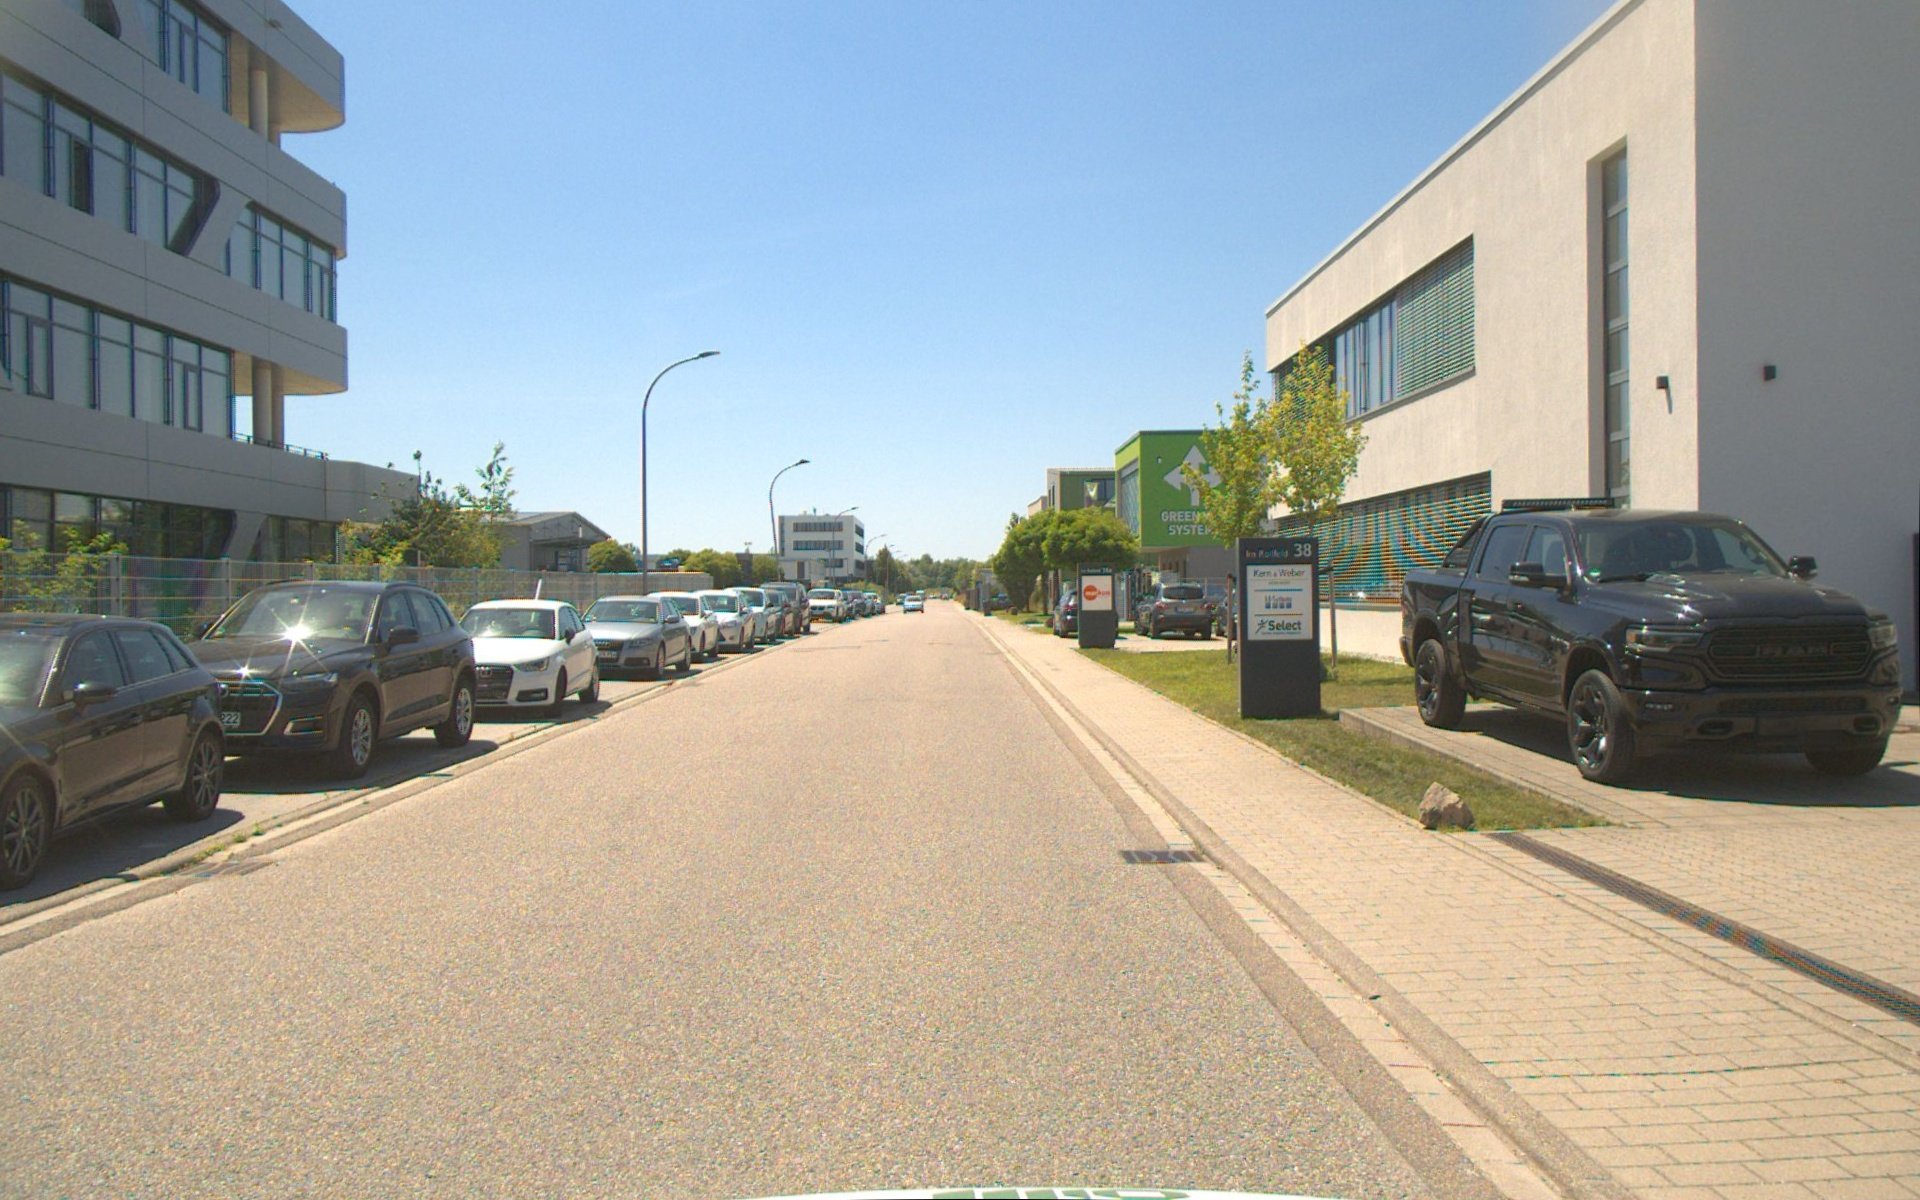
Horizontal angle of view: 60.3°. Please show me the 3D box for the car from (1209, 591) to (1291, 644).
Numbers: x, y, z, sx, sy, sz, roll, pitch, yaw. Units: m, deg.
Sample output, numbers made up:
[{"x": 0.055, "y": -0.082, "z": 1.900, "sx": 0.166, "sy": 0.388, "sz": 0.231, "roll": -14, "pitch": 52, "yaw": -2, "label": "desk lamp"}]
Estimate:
[{"x": 8.539, "y": 0.493, "z": 48.966, "sx": 1.688, "sy": 1.475, "sz": 4.022, "roll": 0, "pitch": 1, "yaw": -1, "label": "car"}]

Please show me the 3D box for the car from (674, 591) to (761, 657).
[{"x": -6.165, "y": 0.572, "z": 42.522, "sx": 1.668, "sy": 1.563, "sz": 4.571, "roll": 1, "pitch": 1, "yaw": -2, "label": "car"}]

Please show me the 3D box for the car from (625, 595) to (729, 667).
[{"x": -6.291, "y": 0.651, "z": 37.151, "sx": 1.668, "sy": 1.469, "sz": 4.438, "roll": 1, "pitch": 1, "yaw": -2, "label": "car"}]

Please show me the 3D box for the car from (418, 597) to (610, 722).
[{"x": -5.784, "y": 0.715, "z": 21.864, "sx": 1.665, "sy": 1.410, "sz": 3.935, "roll": 0, "pitch": 1, "yaw": -3, "label": "car"}]

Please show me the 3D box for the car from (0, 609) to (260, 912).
[{"x": -5.972, "y": 0.859, "z": 10.164, "sx": 1.734, "sy": 1.492, "sz": 4.184, "roll": 0, "pitch": 1, "yaw": -3, "label": "car"}]

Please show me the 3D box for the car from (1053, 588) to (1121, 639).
[{"x": 3.755, "y": 0.369, "z": 49.604, "sx": 1.658, "sy": 1.453, "sz": 4.245, "roll": 0, "pitch": 1, "yaw": -1, "label": "car"}]

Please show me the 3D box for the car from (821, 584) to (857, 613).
[{"x": -6.622, "y": -0.097, "z": 91.074, "sx": 1.727, "sy": 1.544, "sz": 4.379, "roll": 0, "pitch": 0, "yaw": -1, "label": "car"}]

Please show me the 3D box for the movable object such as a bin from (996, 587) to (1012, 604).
[{"x": 3.862, "y": -0.386, "z": 145.678, "sx": 1.307, "sy": 1.485, "sz": 0.948, "roll": -1, "pitch": 0, "yaw": -1, "label": "movable object such as a bin"}]

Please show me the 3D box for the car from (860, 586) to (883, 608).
[{"x": -6.917, "y": -0.226, "z": 129.625, "sx": 1.733, "sy": 1.620, "sz": 4.358, "roll": 0, "pitch": 0, "yaw": -2, "label": "car"}]

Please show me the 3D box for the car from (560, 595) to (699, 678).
[{"x": -5.997, "y": 0.640, "z": 30.500, "sx": 1.649, "sy": 1.410, "sz": 4.638, "roll": 0, "pitch": 0, "yaw": 0, "label": "car"}]

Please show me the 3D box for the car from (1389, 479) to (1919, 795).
[{"x": 5.420, "y": 0.105, "z": 13.817, "sx": 1.953, "sy": 2.048, "sz": 5.799, "roll": -1, "pitch": 3, "yaw": -2, "label": "car"}]

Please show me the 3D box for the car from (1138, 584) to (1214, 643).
[{"x": 6.385, "y": 0.365, "z": 49.332, "sx": 1.688, "sy": 1.661, "sz": 4.022, "roll": 0, "pitch": 1, "yaw": -1, "label": "car"}]

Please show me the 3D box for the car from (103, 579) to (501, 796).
[{"x": -5.907, "y": 0.663, "z": 15.593, "sx": 1.733, "sy": 1.680, "sz": 4.852, "roll": 0, "pitch": 1, "yaw": 1, "label": "car"}]

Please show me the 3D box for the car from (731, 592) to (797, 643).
[{"x": -6.216, "y": 0.542, "z": 52.729, "sx": 1.601, "sy": 1.526, "sz": 3.971, "roll": 1, "pitch": 1, "yaw": 0, "label": "car"}]

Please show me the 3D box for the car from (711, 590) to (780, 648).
[{"x": -6.200, "y": 0.520, "z": 48.057, "sx": 1.601, "sy": 1.563, "sz": 3.657, "roll": 1, "pitch": 1, "yaw": -2, "label": "car"}]

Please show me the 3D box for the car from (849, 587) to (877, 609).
[{"x": -7.056, "y": -0.157, "z": 120.495, "sx": 1.819, "sy": 1.506, "sz": 4.228, "roll": 0, "pitch": 0, "yaw": -1, "label": "car"}]

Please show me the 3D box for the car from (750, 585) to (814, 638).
[{"x": -6.192, "y": 0.353, "z": 57.857, "sx": 1.766, "sy": 1.749, "sz": 4.622, "roll": 1, "pitch": 1, "yaw": -1, "label": "car"}]

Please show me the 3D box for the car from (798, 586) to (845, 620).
[{"x": -6.507, "y": 0.112, "z": 78.036, "sx": 1.750, "sy": 1.569, "sz": 4.365, "roll": 0, "pitch": 0, "yaw": 1, "label": "car"}]

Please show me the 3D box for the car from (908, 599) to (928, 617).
[{"x": -3.595, "y": 0.675, "z": 142.175, "sx": 1.669, "sy": 1.436, "sz": 4.783, "roll": -3, "pitch": 1, "yaw": -1, "label": "car"}]

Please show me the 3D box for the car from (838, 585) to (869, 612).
[{"x": -6.721, "y": -0.080, "z": 104.501, "sx": 1.754, "sy": 1.635, "sz": 4.461, "roll": 0, "pitch": 0, "yaw": -2, "label": "car"}]
